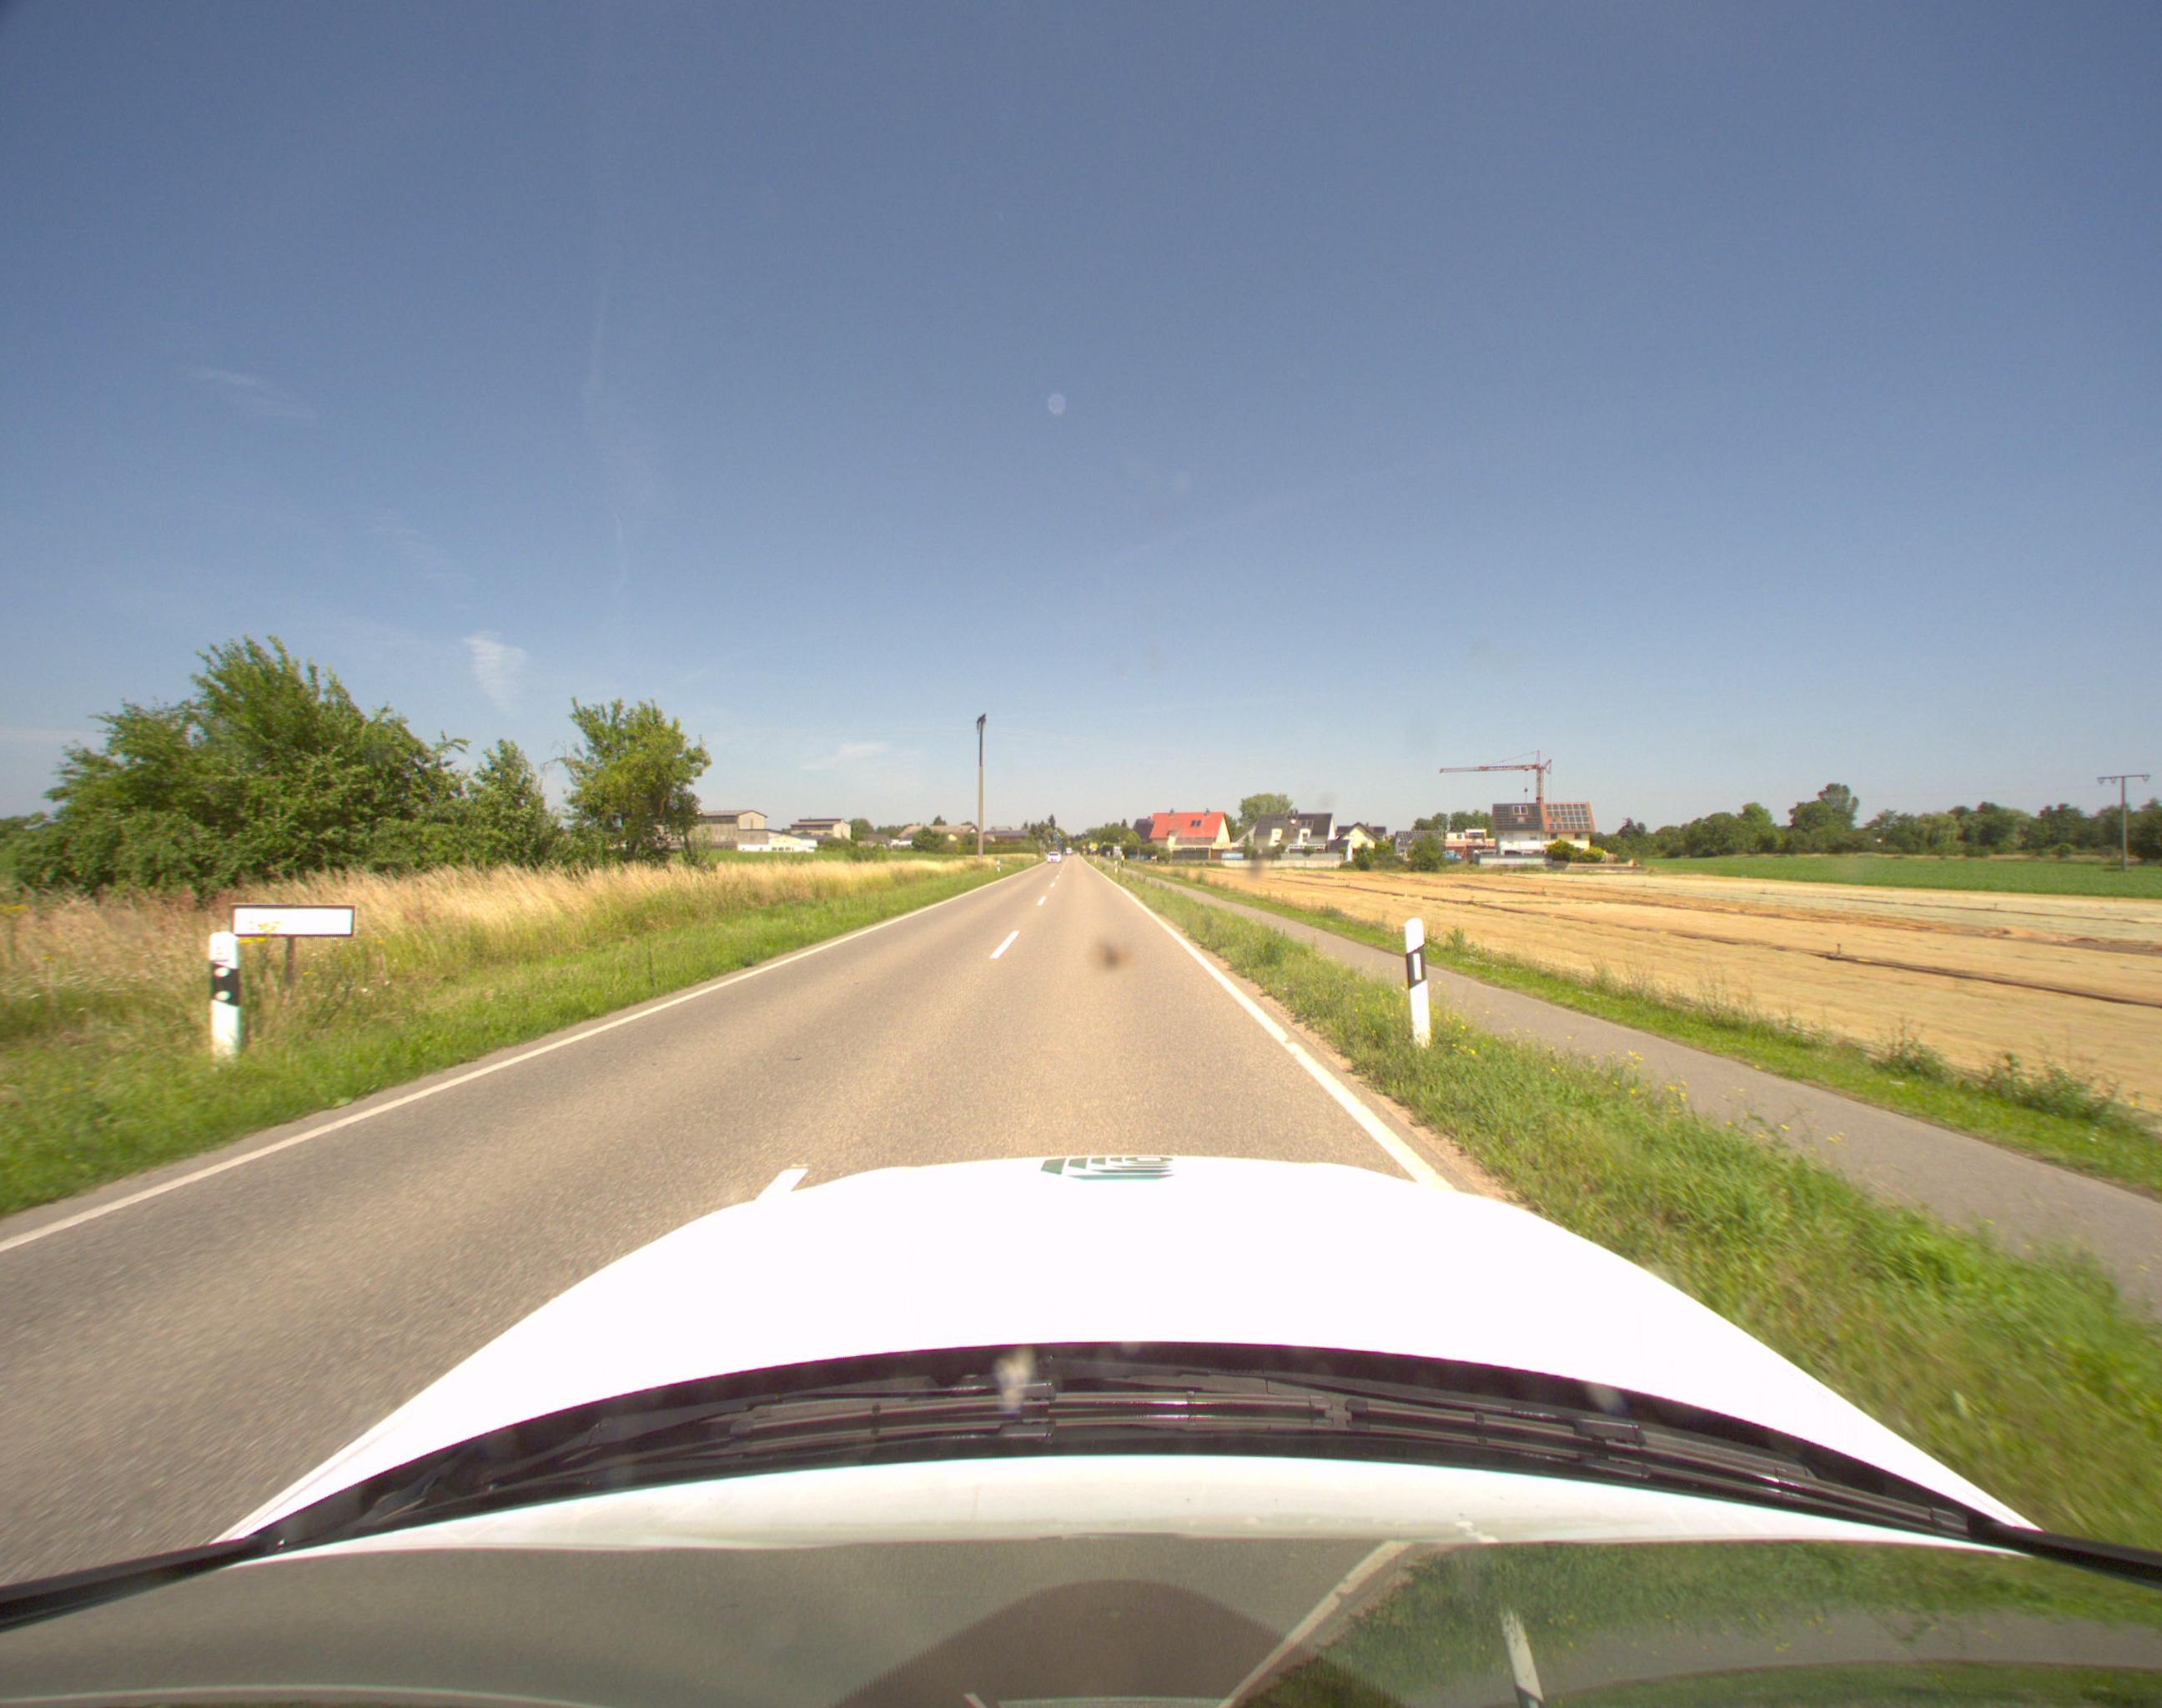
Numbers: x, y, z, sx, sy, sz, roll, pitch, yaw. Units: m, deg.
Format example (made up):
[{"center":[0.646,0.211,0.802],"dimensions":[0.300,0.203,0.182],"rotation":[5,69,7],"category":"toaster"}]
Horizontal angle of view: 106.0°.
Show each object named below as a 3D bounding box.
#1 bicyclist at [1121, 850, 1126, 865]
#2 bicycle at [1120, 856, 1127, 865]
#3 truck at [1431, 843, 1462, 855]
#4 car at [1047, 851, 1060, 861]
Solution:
[{"center":[5.451,0.450,104.412],"dimensions":[0.643,1.889,0.860],"rotation":[2,1,-2],"category":"bicyclist"},{"center":[5.448,0.823,104.448],"dimensions":[0.608,1.158,2.273],"rotation":[2,1,-1],"category":"bicycle"},{"center":[72.470,-1.047,161.645],"dimensions":[5.504,2.230,2.227],"rotation":[-1,0,24],"category":"truck"},{"center":[-3.826,0.310,114.141],"dimensions":[1.786,1.409,4.184],"rotation":[-1,0,-1],"category":"car"}]
